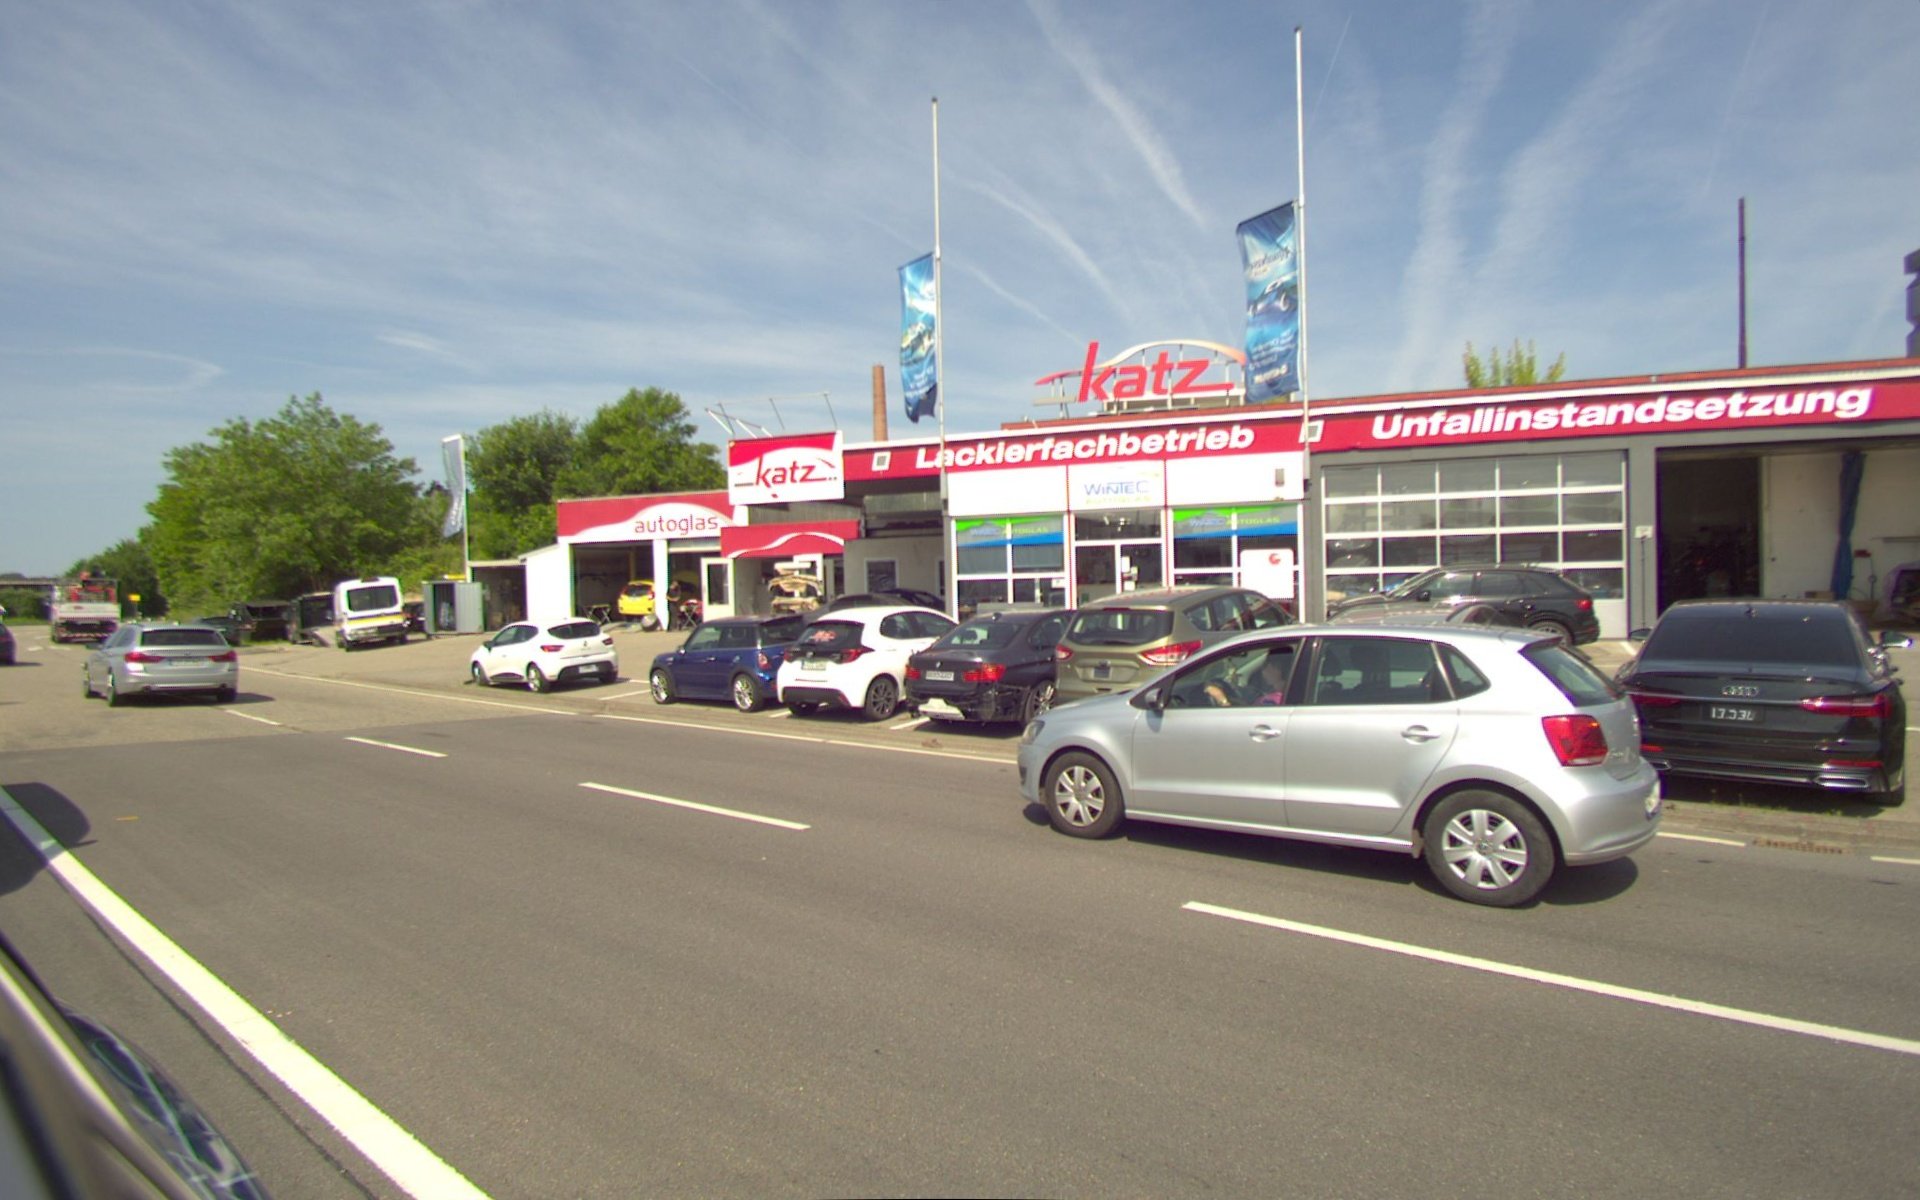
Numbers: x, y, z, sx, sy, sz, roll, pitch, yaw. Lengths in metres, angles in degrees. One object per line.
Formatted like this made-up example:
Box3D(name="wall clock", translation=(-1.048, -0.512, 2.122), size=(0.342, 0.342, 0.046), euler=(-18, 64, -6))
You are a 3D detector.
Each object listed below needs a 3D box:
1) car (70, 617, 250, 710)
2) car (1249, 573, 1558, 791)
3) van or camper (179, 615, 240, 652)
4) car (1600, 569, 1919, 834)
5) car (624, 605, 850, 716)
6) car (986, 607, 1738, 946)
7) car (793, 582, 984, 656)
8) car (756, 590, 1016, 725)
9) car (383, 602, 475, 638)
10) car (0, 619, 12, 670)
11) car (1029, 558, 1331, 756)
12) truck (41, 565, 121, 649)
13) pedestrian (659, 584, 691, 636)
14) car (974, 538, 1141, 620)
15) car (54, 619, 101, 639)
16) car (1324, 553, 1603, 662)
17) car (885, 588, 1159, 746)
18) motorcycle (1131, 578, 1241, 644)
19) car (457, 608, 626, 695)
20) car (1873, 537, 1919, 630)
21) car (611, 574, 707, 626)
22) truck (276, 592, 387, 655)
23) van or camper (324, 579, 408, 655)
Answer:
Box3D(name="car", translation=(-15.410, 1.122, 19.387), size=(4.779, 1.533, 1.889), euler=(-1, -1, 41))
Box3D(name="car", translation=(4.645, 0.625, 10.206), size=(1.834, 1.495, 4.237), euler=(-2, 3, 38))
Box3D(name="van or camper", translation=(-34.077, 1.479, 45.921), size=(1.621, 1.535, 4.471), euler=(-2, 1, -44))
Box3D(name="car", translation=(6.884, 0.622, 8.675), size=(1.797, 1.495, 4.256), euler=(-1, 3, 40))
Box3D(name="car", translation=(-3.792, 0.927, 16.933), size=(3.781, 1.505, 1.761), euler=(-1, 4, 42))
Box3D(name="car", translation=(2.311, 0.808, 6.445), size=(4.079, 1.459, 1.817), euler=(-1, -1, 41))
Box3D(name="car", translation=(-1.773, 0.476, 25.451), size=(4.360, 1.516, 1.849), euler=(-3, 2, 18))
Box3D(name="car", translation=(-1.005, 0.762, 15.385), size=(1.844, 1.536, 3.761), euler=(-1, 3, 38))
Box3D(name="car", translation=(-24.749, 0.894, 47.297), size=(1.725, 1.541, 3.650), euler=(-1, 0, 18))
Box3D(name="car", translation=(-31.788, 1.427, 32.445), size=(4.388, 1.571, 1.786), euler=(-2, -1, 44))
Box3D(name="car", translation=(2.686, 0.504, 11.717), size=(1.805, 1.729, 3.848), euler=(-1, 3, 39))
Box3D(name="truck", translation=(-48.719, 0.499, 55.967), size=(2.921, 4.241, 10.657), euler=(2, -2, -43))
Box3D(name="pedestrian", translation=(-9.869, 0.335, 35.026), size=(0.895, 1.775, 0.714), euler=(0, 1, 44))
Box3D(name="car", translation=(2.362, -0.505, 24.197), size=(3.727, 1.772, 1.696), euler=(-2, 3, 16))
Box3D(name="car", translation=(-74.541, 2.419, 85.511), size=(1.781, 1.571, 4.401), euler=(0, -1, -24))
Box3D(name="car", translation=(8.700, 0.095, 17.913), size=(4.089, 1.686, 1.819), euler=(0, 5, 16))
Box3D(name="car", translation=(0.938, 0.756, 13.345), size=(1.790, 1.536, 3.673), euler=(-2, 3, 38))
Box3D(name="motorcycle", translation=(4.494, 0.221, 20.106), size=(2.039, 1.271, 0.767), euler=(-1, -1, 20))
Box3D(name="car", translation=(-8.919, 1.013, 21.437), size=(3.999, 1.630, 1.760), euler=(-1, 0, 42))
Box3D(name="car", translation=(19.437, -0.327, 18.262), size=(3.996, 1.685, 1.894), euler=(-1, -1, 28))
Box3D(name="car", translation=(-11.485, -0.024, 38.846), size=(1.725, 1.738, 3.650), euler=(-1, 3, 18))
Box3D(name="truck", translation=(-27.705, 0.977, 44.391), size=(2.304, 2.313, 8.811), euler=(-7, 4, -43))
Box3D(name="van or camper", translation=(-22.598, 0.618, 38.395), size=(2.126, 2.517, 5.965), euler=(-5, 2, -35))
